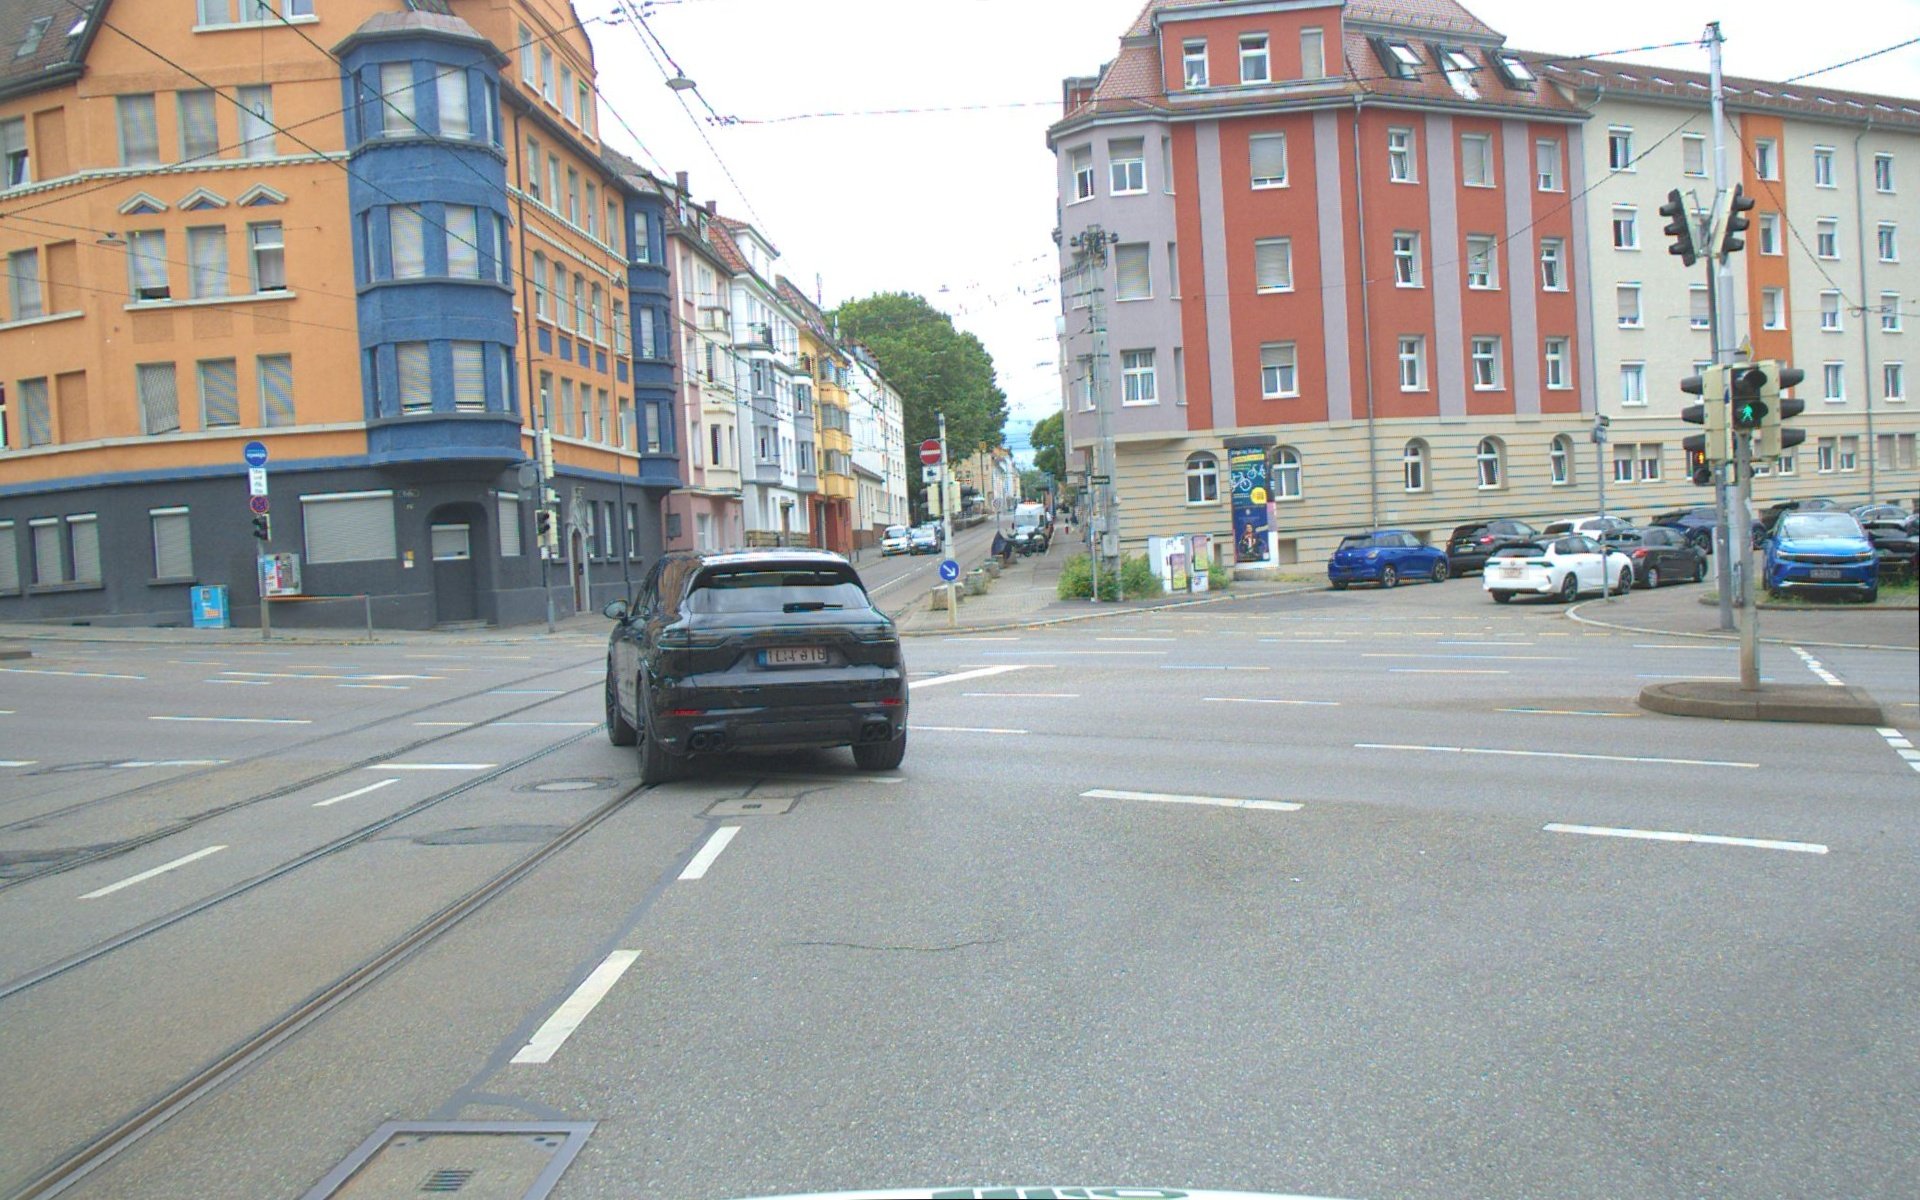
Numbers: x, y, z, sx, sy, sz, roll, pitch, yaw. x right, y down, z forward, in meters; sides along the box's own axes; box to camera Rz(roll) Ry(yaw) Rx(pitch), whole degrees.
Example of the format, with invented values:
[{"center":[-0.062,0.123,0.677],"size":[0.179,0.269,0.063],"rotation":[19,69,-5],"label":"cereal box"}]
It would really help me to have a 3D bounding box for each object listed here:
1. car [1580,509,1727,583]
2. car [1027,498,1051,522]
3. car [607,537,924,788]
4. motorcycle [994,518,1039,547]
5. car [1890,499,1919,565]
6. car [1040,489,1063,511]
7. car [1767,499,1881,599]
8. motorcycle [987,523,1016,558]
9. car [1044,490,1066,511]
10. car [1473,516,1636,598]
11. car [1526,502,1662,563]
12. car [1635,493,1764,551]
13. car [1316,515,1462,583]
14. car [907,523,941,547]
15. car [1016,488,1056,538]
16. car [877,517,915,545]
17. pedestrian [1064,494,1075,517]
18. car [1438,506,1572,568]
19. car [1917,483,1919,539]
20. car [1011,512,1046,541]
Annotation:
[{"center":[17.232,-1.376,41.018],"size":[4.110,1.561,1.888],"rotation":[-6,6,-43],"label":"car"},{"center":[7.736,-8.750,161.447],"size":[2.219,2.221,4.773],"rotation":[-1,3,5],"label":"car"},{"center":[-1.748,0.358,13.400],"size":[1.990,1.670,4.340],"rotation":[-1,1,-14],"label":"car"},{"center":[2.792,-3.334,81.496],"size":[2.135,1.349,0.699],"rotation":[-1,2,-6],"label":"motorcycle"},{"center":[25.248,-1.669,40.420],"size":[1.775,1.561,4.066],"rotation":[-5,5,-36],"label":"car"},{"center":[9.709,-10.623,175.345],"size":[2.219,2.221,4.773],"rotation":[-1,3,5],"label":"car"},{"center":[16.328,-1.034,31.424],"size":[1.788,1.604,4.258],"rotation":[1,6,26],"label":"car"},{"center":[1.759,-2.576,70.971],"size":[0.843,1.348,2.182],"rotation":[-8,3,-5],"label":"motorcycle"},{"center":[10.473,-10.941,181.572],"size":[2.219,2.221,4.773],"rotation":[-1,3,5],"label":"car"},{"center":[13.424,-1.007,37.235],"size":[4.113,1.561,1.887],"rotation":[-7,6,-45],"label":"car"},{"center":[19.965,-2.151,52.067],"size":[4.087,1.660,1.899],"rotation":[-5,5,-31],"label":"car"},{"center":[24.328,-2.590,54.359],"size":[4.087,1.660,1.899],"rotation":[-5,5,-31],"label":"car"},{"center":[11.698,-1.417,44.978],"size":[4.107,1.561,1.890],"rotation":[-6,6,-42],"label":"car"},{"center":[-2.155,-3.949,100.439],"size":[1.650,1.349,3.665],"rotation":[-1,3,5],"label":"car"},{"center":[4.623,-5.270,100.151],"size":[2.219,2.940,4.773],"rotation":[-1,3,5],"label":"car"},{"center":[-4.106,-4.437,106.515],"size":[1.951,1.721,4.004],"rotation":[-1,3,5],"label":"car"},{"center":[8.069,-6.946,121.756],"size":[0.665,1.660,0.674],"rotation":[-1,0,14],"label":"pedestrian"},{"center":[16.021,-1.864,48.534],"size":[4.106,1.561,1.890],"rotation":[-6,5,-41],"label":"car"},{"center":[31.025,-2.789,50.067],"size":[4.089,1.673,1.898],"rotation":[-5,5,-32],"label":"car"},{"center":[3.932,-4.186,94.432],"size":[1.801,1.596,3.822],"rotation":[-1,3,5],"label":"car"}]
